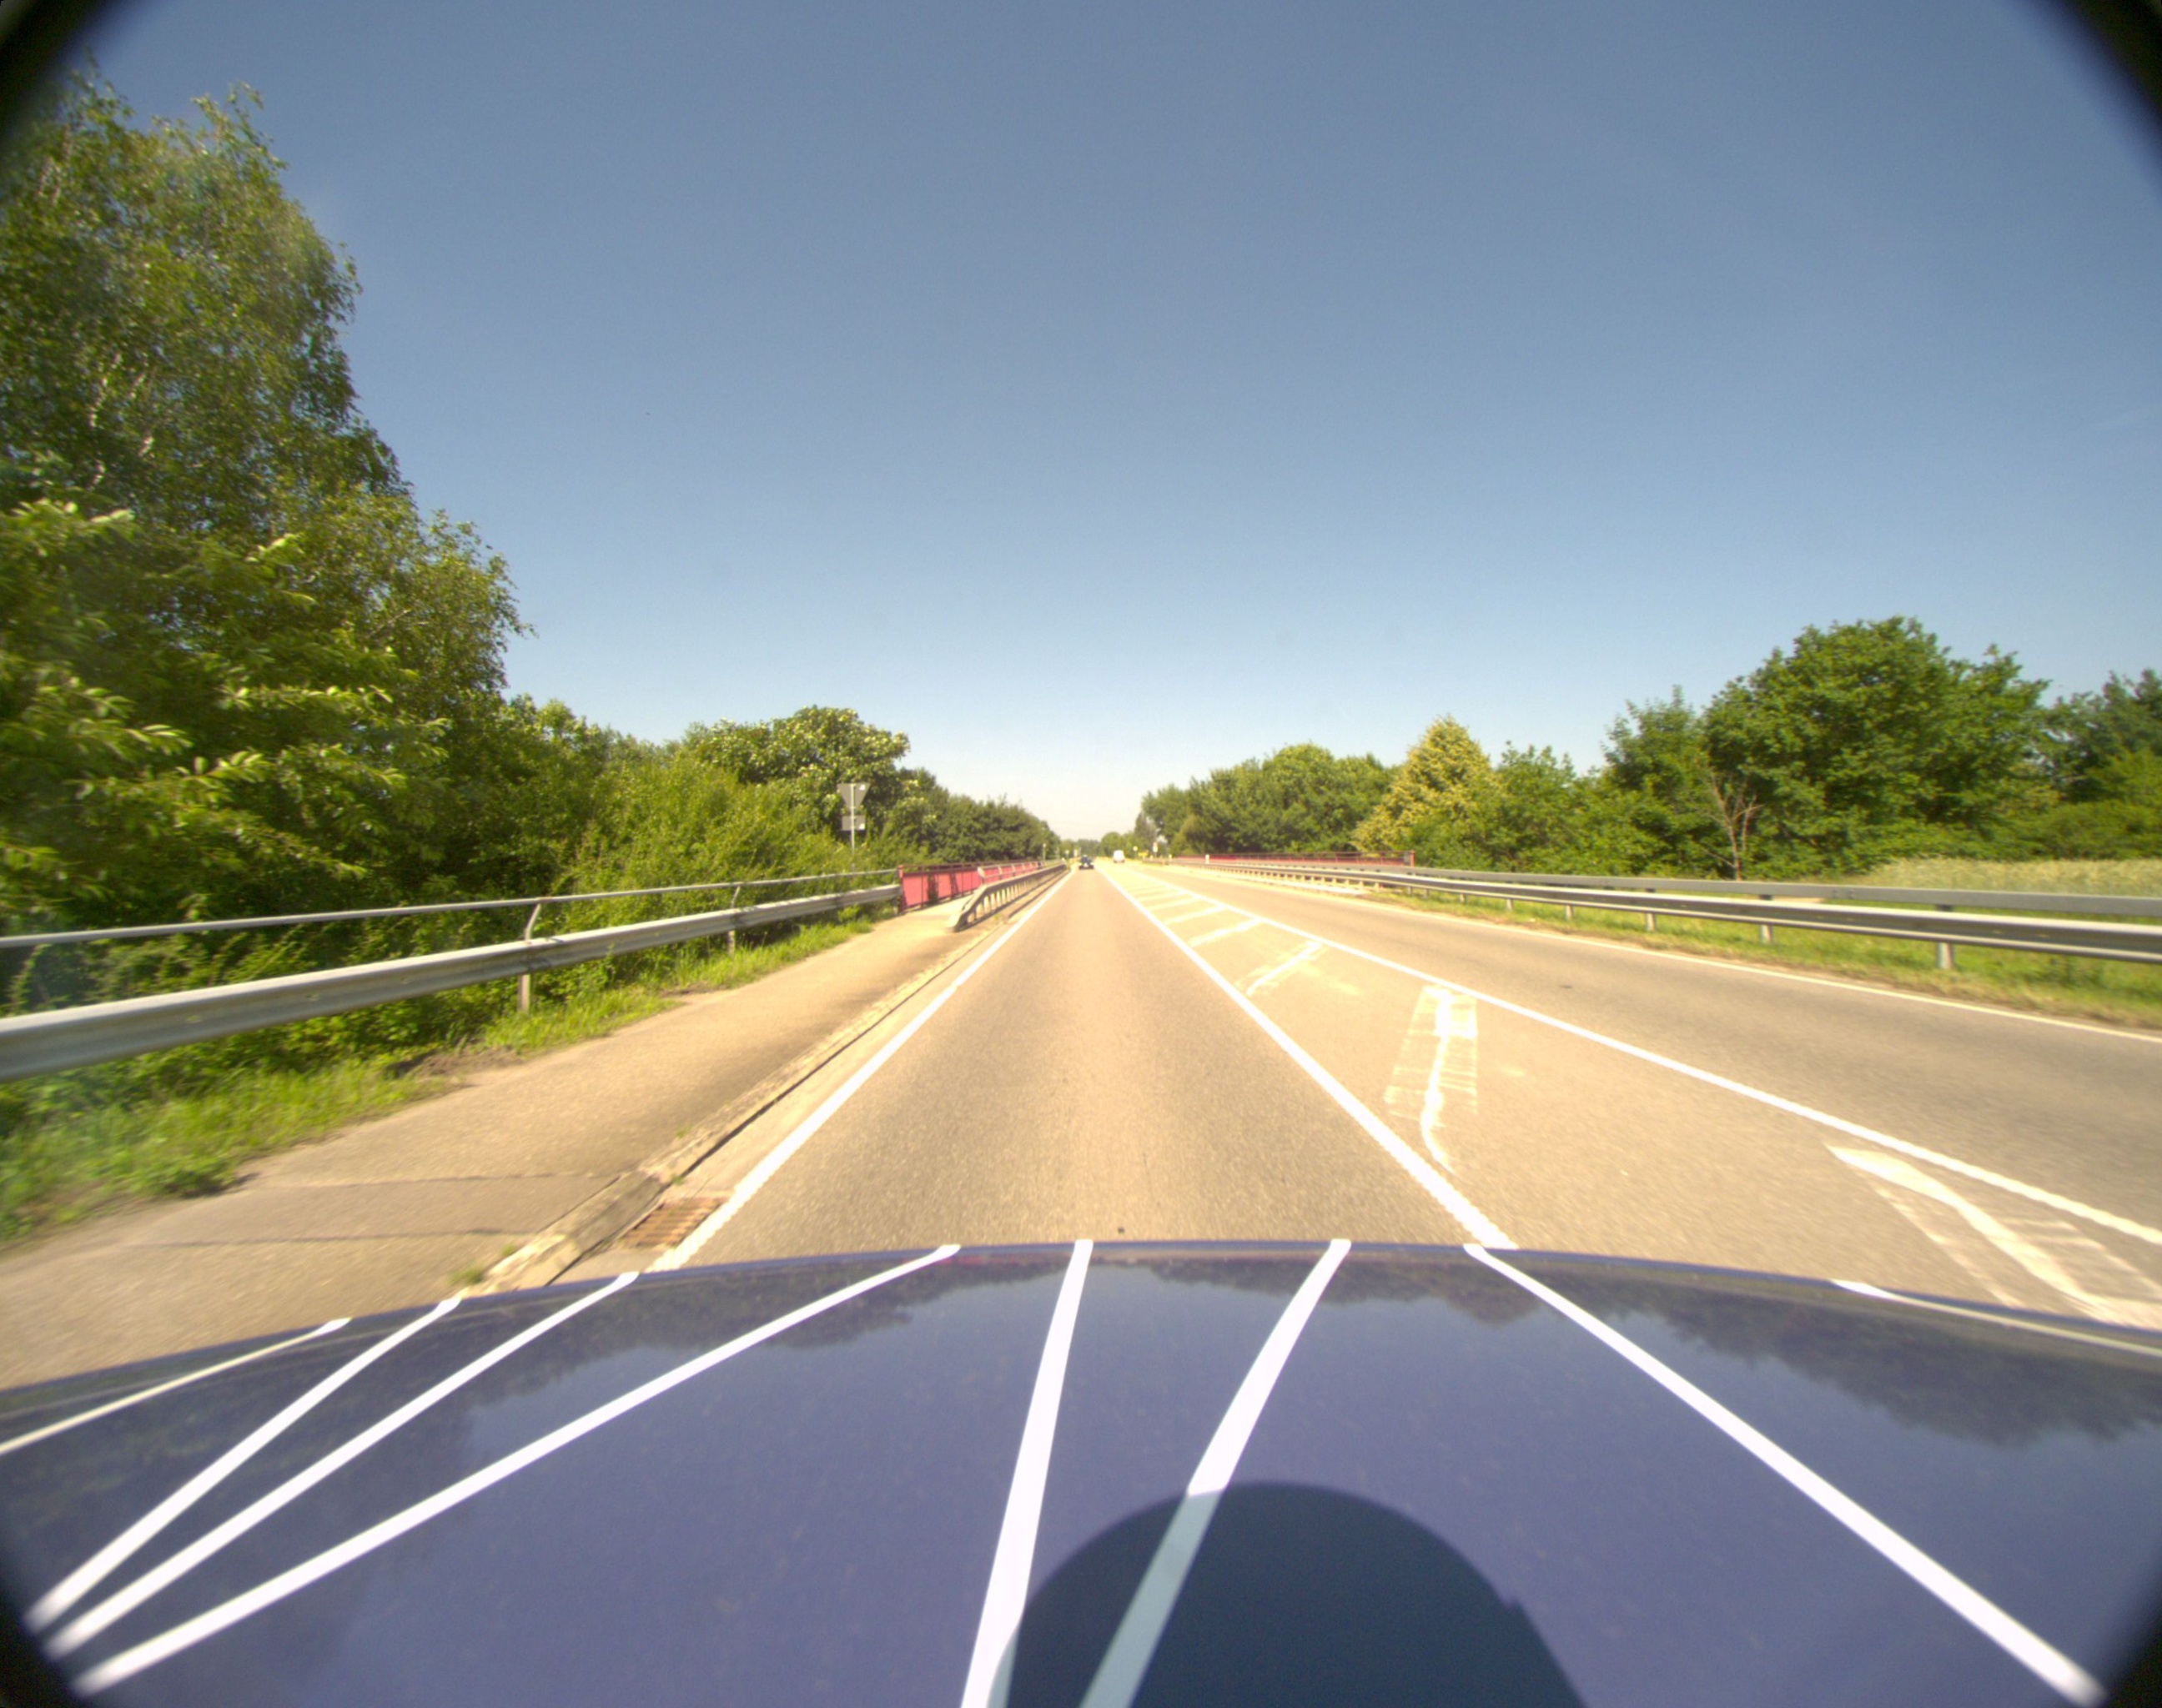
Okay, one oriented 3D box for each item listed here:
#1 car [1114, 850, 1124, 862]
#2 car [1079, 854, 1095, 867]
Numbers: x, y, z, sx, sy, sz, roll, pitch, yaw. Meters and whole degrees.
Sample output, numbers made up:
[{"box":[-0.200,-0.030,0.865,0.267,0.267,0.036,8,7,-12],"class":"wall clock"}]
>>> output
[{"box":[7.389,0.312,148.505,1.895,2.214,7.232,-2,0,2],"class":"car"},{"box":[0.764,0.769,89.298,1.806,1.390,4.180,-2,0,1],"class":"car"}]
